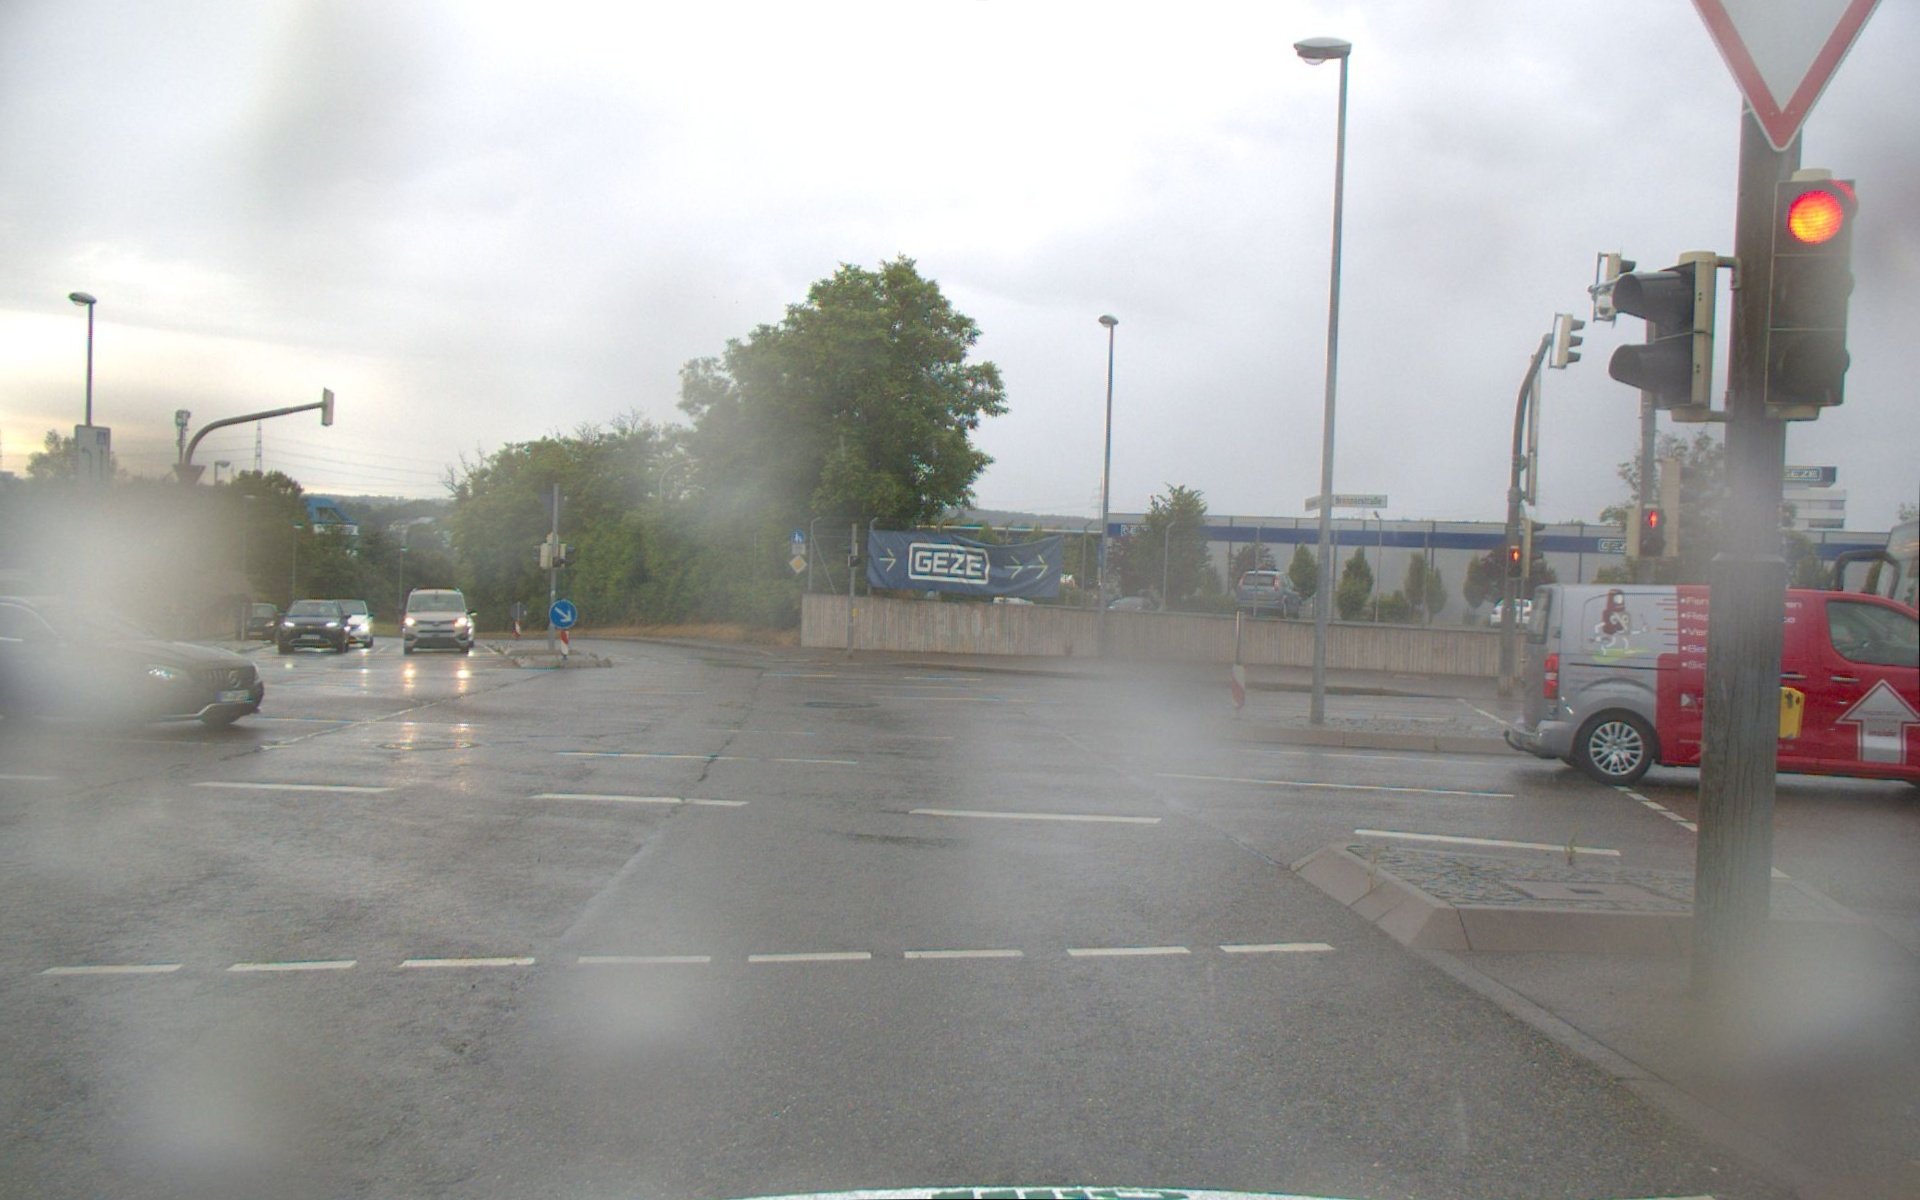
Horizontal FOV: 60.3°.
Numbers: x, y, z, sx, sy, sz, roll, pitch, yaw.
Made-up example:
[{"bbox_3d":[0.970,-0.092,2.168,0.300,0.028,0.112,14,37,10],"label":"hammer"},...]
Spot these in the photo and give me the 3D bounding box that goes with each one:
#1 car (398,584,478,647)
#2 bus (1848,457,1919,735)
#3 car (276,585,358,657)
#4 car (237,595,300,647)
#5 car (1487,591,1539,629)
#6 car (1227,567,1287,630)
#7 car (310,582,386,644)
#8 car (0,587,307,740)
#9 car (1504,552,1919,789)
[{"bbox_3d":[-14.910,0.414,47.427,1.961,1.646,3.984,1,1,-15],"label":"car"},{"bbox_3d":[17.765,0.218,19.855,12.020,3.379,3.076,3,1,17],"label":"bus"},{"bbox_3d":[-18.599,0.571,47.966,1.963,1.928,3.979,1,0,-19],"label":"car"},{"bbox_3d":[-27.870,0.829,66.753,1.962,1.928,3.981,1,0,-18],"label":"car"},{"bbox_3d":[22.964,0.397,68.644,1.952,1.504,4.001,2,0,19],"label":"car"},{"bbox_3d":[10.398,-0.056,57.839,1.951,2.049,4.003,1,0,11],"label":"car"},{"bbox_3d":[-20.379,0.410,55.212,1.960,1.928,3.985,1,0,-15],"label":"car"},{"bbox_3d":[-10.121,0.657,18.981,4.560,1.502,2.002,2,0,15],"label":"car"},{"bbox_3d":[7.739,0.620,15.748,4.670,2.049,2.002,1,0,13],"label":"car"}]
